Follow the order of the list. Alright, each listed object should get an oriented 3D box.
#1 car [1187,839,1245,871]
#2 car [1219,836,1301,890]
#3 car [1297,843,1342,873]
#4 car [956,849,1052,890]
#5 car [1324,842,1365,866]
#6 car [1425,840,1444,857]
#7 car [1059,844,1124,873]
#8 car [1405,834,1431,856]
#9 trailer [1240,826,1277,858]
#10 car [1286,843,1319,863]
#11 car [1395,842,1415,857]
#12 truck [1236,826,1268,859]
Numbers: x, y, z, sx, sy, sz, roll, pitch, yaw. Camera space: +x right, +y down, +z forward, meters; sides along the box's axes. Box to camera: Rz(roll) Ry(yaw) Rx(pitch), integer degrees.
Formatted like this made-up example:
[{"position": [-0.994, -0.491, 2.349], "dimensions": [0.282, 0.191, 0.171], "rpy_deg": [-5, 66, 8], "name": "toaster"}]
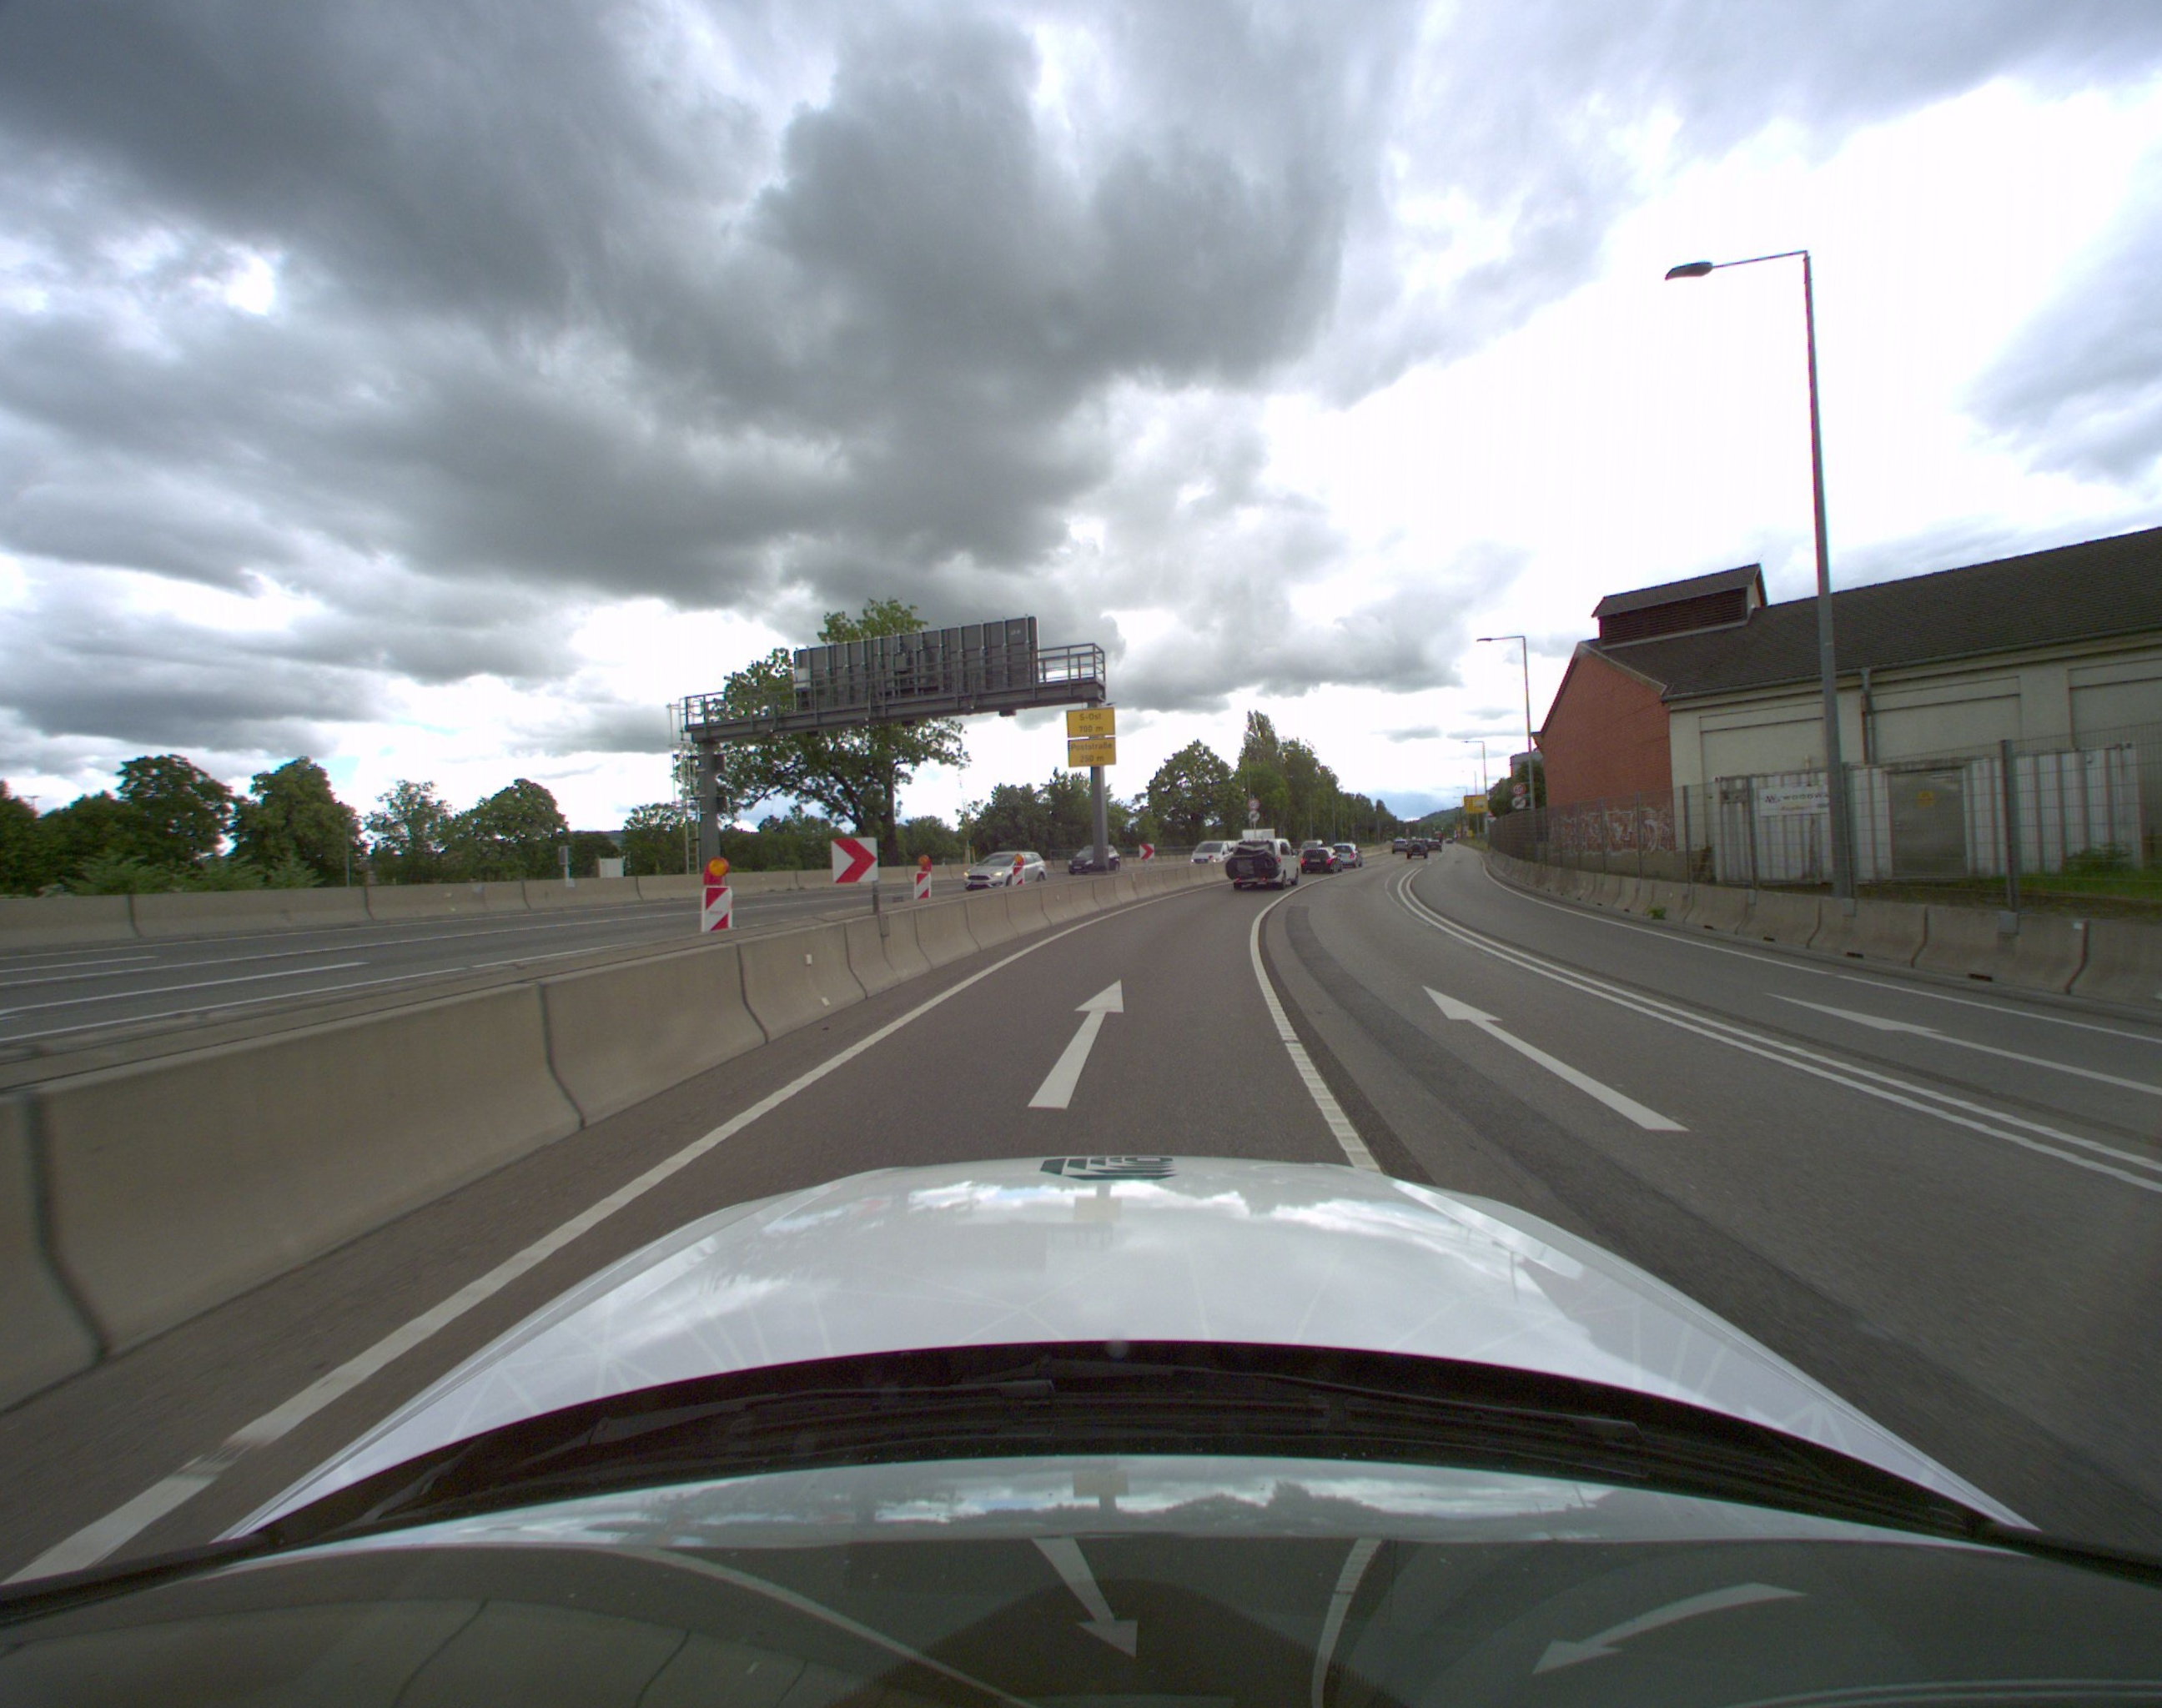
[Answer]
[{"position": [8.110, 0.032, 48.350], "dimensions": [1.933, 1.806, 5.826], "rpy_deg": [0, 0, 24], "name": "car"}, {"position": [6.899, 0.268, 30.869], "dimensions": [1.975, 1.859, 5.672], "rpy_deg": [0, 1, 23], "name": "car"}, {"position": [13.132, 0.186, 44.701], "dimensions": [1.798, 1.434, 4.088], "rpy_deg": [-3, 0, 24], "name": "car"}, {"position": [-2.843, 0.528, 31.228], "dimensions": [1.779, 1.421, 4.673], "rpy_deg": [0, 0, 20], "name": "car"}, {"position": [17.168, -0.027, 53.021], "dimensions": [1.903, 1.488, 4.090], "rpy_deg": [-2, 0, 26], "name": "car"}, {"position": [43.390, -0.665, 100.070], "dimensions": [1.976, 1.904, 4.022], "rpy_deg": [-2, -1, 23], "name": "car"}, {"position": [0.717, 0.237, 49.046], "dimensions": [1.975, 1.672, 4.757], "rpy_deg": [0, 0, 28], "name": "car"}, {"position": [29.605, -0.782, 71.599], "dimensions": [1.976, 1.860, 4.021], "rpy_deg": [-2, -1, 21], "name": "car"}, {"position": [17.798, -1.192, 81.464], "dimensions": [2.251, 3.137, 5.745], "rpy_deg": [0, 0, 26], "name": "trailer"}, {"position": [20.189, -0.090, 74.069], "dimensions": [1.883, 1.805, 4.985], "rpy_deg": [0, 0, 28], "name": "car"}, {"position": [37.219, -0.475, 93.552], "dimensions": [1.975, 1.673, 4.023], "rpy_deg": [0, 0, 24], "name": "car"}, {"position": [16.596, -1.128, 78.986], "dimensions": [2.251, 3.114, 3.005], "rpy_deg": [0, 0, 27], "name": "truck"}]
